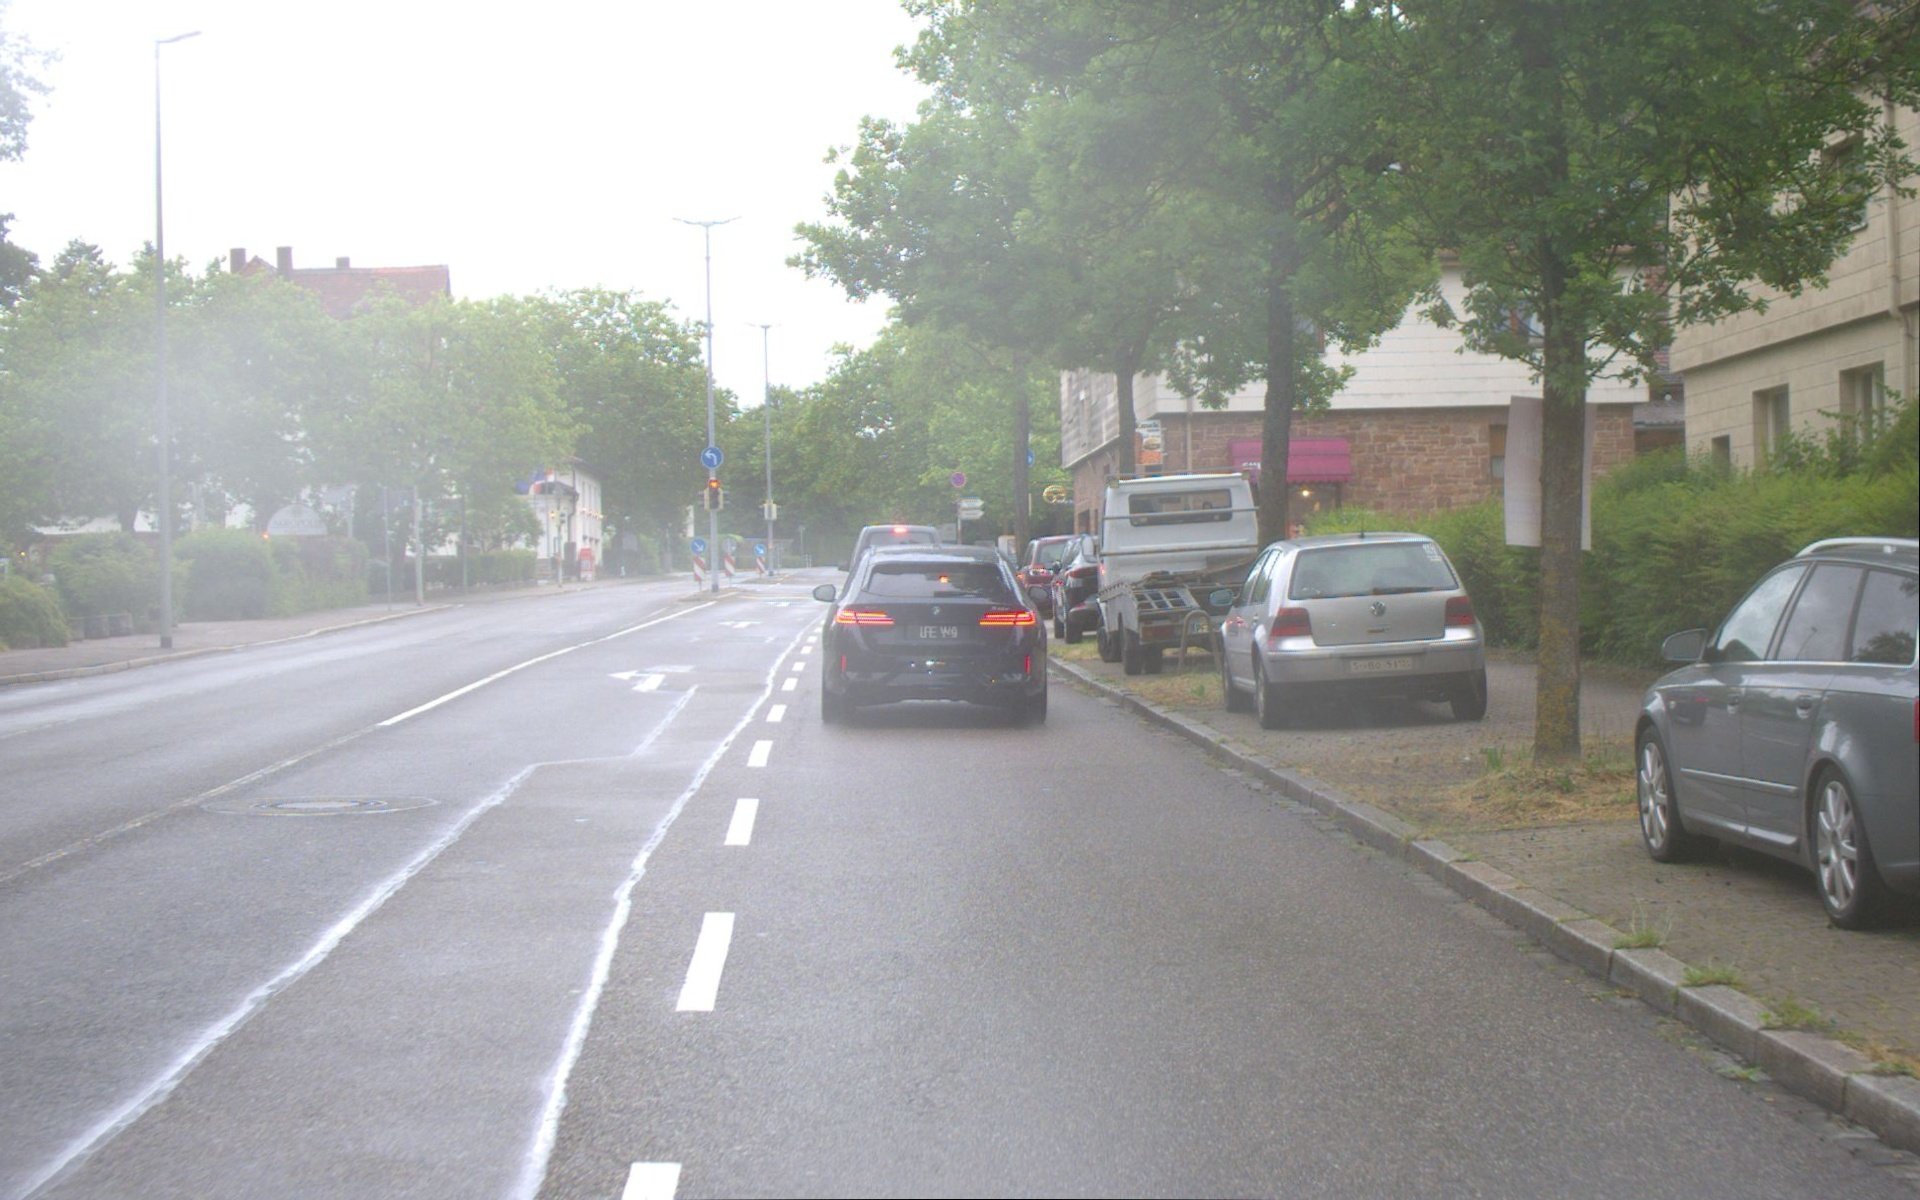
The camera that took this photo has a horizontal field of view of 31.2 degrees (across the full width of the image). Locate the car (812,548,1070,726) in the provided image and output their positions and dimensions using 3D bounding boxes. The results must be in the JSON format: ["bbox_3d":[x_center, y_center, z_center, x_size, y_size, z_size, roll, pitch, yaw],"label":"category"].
[{"bbox_3d":[-0.249,0.270,30.282,2.064,1.441,4.484,0,1,-3],"label":"car"}]

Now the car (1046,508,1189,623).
[{"bbox_3d":[2.231,-0.514,49.575,1.714,1.493,4.184,-3,1,-1],"label":"car"}]

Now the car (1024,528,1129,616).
[{"bbox_3d":[2.182,-0.553,65.162,1.583,1.485,3.628,-4,2,-3],"label":"car"}]

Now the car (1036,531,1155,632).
[{"bbox_3d":[2.163,-0.332,55.662,1.604,1.467,3.856,-4,1,-1],"label":"car"}]

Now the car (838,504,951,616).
[{"bbox_3d":[-1.134,-0.693,57.901,1.783,1.811,4.001,-1,1,-3],"label":"car"}]

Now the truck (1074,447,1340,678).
[{"bbox_3d":[2.623,-0.441,38.222,2.080,2.214,6.502,-4,1,-2],"label":"truck"}]

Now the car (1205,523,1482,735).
[{"bbox_3d":[2.964,0.166,27.285,1.601,1.431,4.022,-4,2,-1],"label":"car"}]

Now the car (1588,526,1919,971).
[{"bbox_3d":[3.895,0.444,13.745,1.688,1.385,4.500,-3,2,-3],"label":"car"}]
